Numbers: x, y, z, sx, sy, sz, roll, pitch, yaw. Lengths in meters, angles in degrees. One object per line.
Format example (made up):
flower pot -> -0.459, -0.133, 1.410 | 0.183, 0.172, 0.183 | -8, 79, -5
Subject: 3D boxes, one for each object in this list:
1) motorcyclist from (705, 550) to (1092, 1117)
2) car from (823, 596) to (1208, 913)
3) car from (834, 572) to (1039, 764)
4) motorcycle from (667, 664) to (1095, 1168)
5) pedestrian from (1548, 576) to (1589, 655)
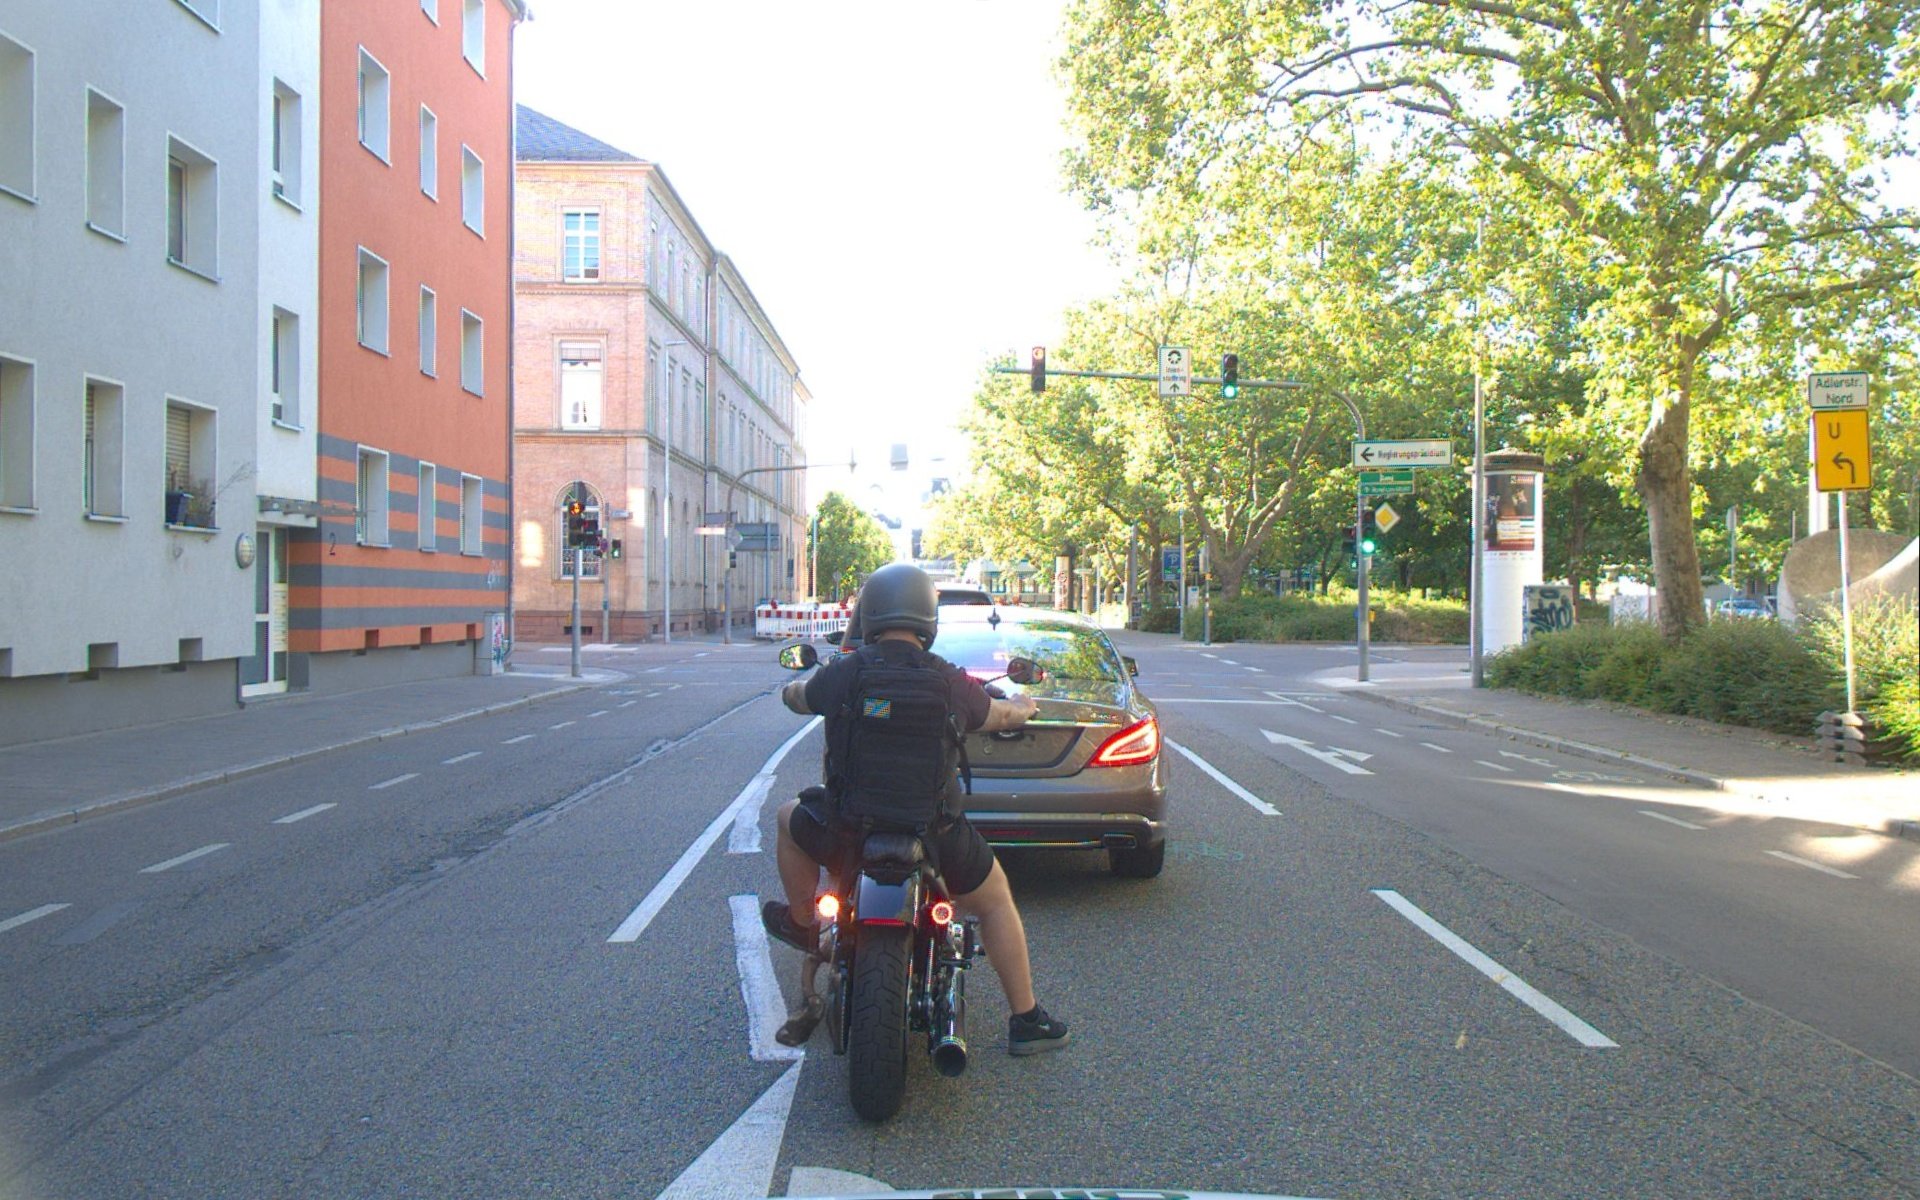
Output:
motorcyclist -> -0.138, 0.664, 5.282 | 1.076, 1.593, 1.072 | 1, 0, 5
car -> 0.237, 0.733, 9.675 | 1.785, 1.462, 3.805 | 1, 0, -1
car -> -0.237, 0.625, 16.947 | 1.825, 1.707, 3.999 | 1, 0, -1
motorcycle -> -0.125, 0.875, 5.503 | 1.094, 1.228, 2.213 | 1, 0, 5
pedestrian -> 14.133, 0.350, 38.433 | 0.720, 1.809, 0.730 | 1, -1, 8
